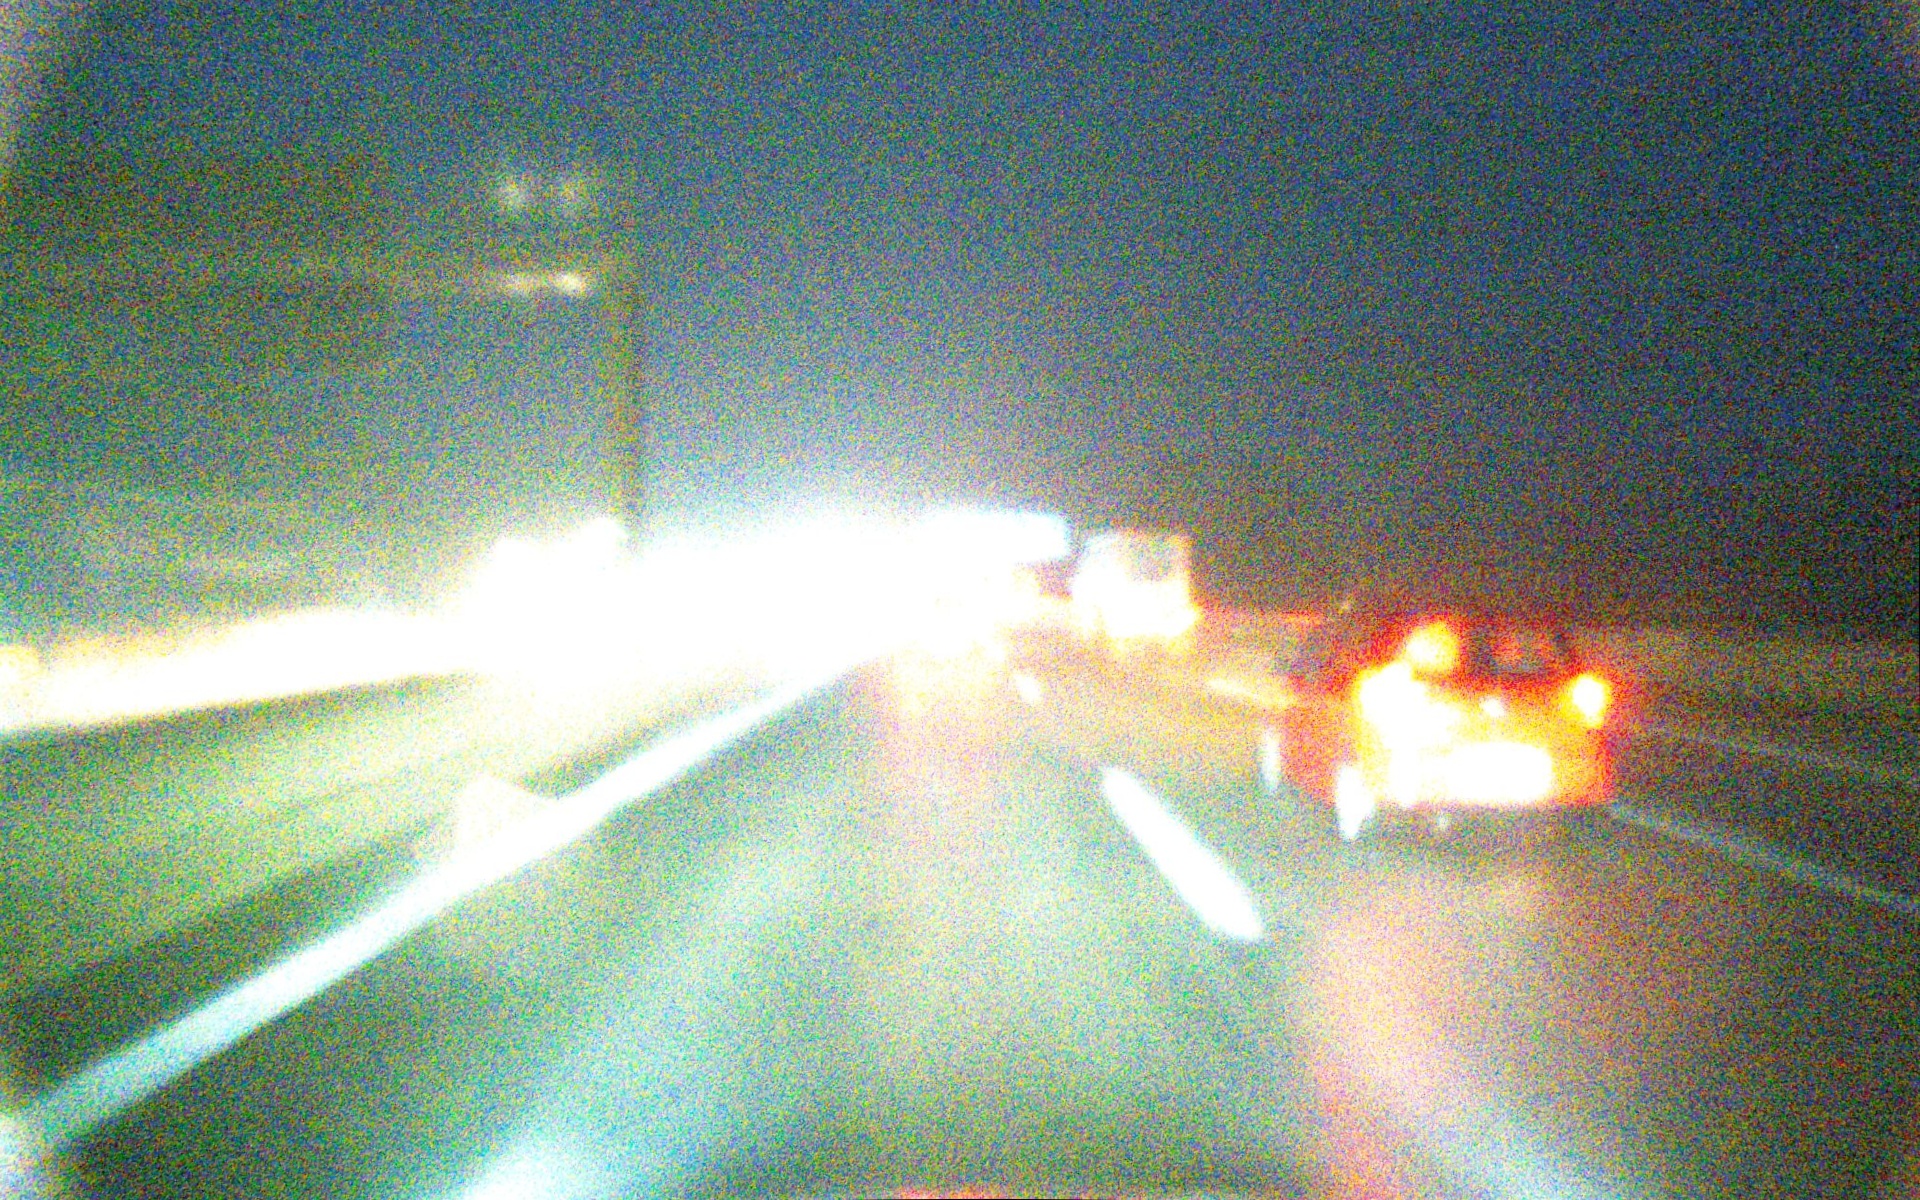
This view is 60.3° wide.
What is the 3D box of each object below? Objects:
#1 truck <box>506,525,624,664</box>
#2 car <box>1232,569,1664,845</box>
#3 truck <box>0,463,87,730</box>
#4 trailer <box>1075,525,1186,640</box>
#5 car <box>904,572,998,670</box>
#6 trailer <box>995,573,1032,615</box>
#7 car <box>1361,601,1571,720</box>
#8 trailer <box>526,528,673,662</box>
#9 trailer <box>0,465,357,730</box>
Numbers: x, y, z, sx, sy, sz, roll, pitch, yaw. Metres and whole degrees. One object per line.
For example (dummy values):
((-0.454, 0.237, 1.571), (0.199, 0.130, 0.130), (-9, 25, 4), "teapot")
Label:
((-13.348, -0.170, 56.285), (2.636, 4.458, 5.733), (1, 0, -1), "truck")
((3.214, 0.660, 11.885), (1.705, 1.603, 4.492), (0, -1, -1), "car")
((-16.744, -0.070, 26.290), (2.636, 4.295, 5.734), (1, 0, -1), "truck")
((6.793, -0.579, 68.419), (2.844, 4.180, 14.484), (-1, -1, -1), "trailer")
((-0.243, 0.451, 37.062), (1.953, 2.049, 3.999), (1, 0, -2), "car")
((5.817, -0.530, 181.325), (2.980, 4.181, 13.821), (-2, -1, -2), "trailer")
((7.078, 0.791, 23.553), (1.606, 1.529, 4.011), (-1, 0, -2), "car")
((-13.470, -0.171, 63.225), (2.636, 4.454, 14.627), (1, 0, -1), "trailer")
((-16.793, -0.071, 34.635), (2.636, 4.295, 15.641), (1, 0, 0), "trailer")
